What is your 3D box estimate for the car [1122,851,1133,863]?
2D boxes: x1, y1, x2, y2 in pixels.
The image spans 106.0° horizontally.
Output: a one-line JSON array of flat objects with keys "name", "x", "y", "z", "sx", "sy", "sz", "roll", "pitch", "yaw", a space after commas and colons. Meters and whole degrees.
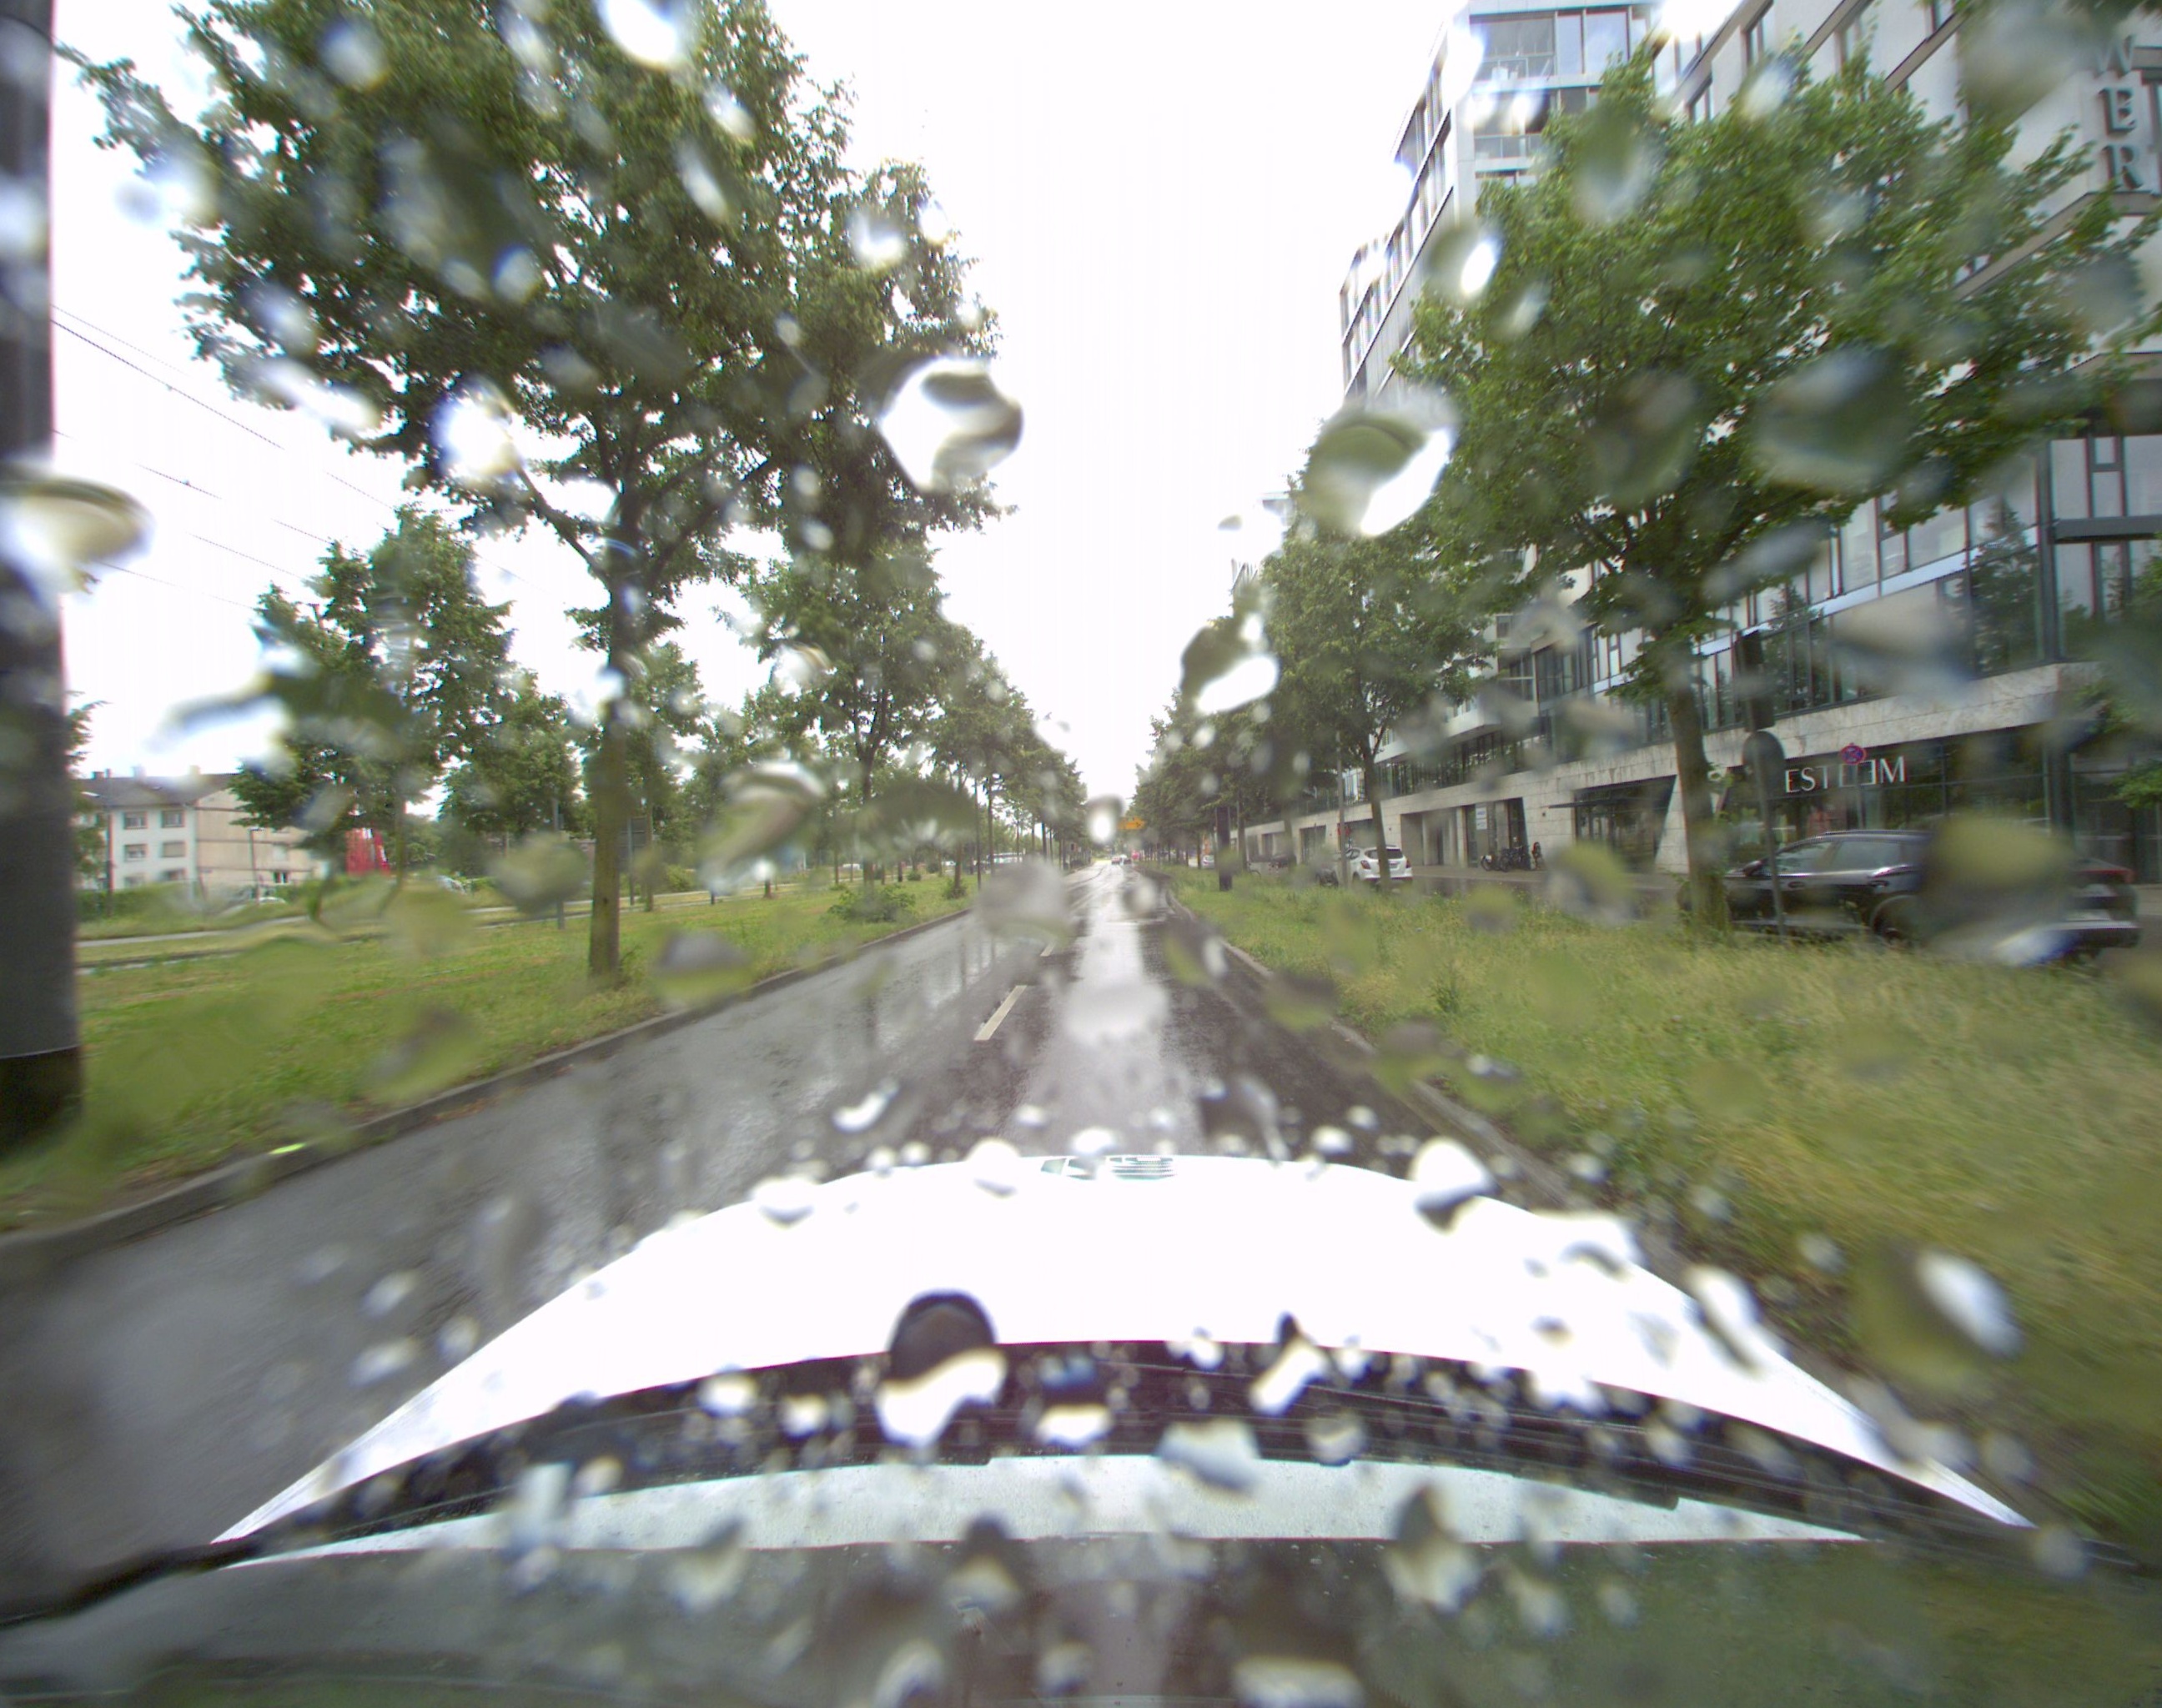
[{"name": "car", "x": 8.803, "y": 0.519, "z": 153.491, "sx": 1.933, "sy": 2.013, "sz": 4.003, "roll": -2, "pitch": 2, "yaw": 2}]

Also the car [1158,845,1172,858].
[{"name": "car", "x": 14.630, "y": -0.436, "z": 141.571, "sx": 2.113, "sy": 2.274, "sz": 4.566, "roll": -2, "pitch": 0, "yaw": 2}]

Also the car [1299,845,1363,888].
[{"name": "car", "x": 10.114, "y": 0.464, "z": 33.184, "sx": 1.619, "sy": 1.490, "sz": 3.658, "roll": -2, "pitch": 2, "yaw": 2}]

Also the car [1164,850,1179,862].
[{"name": "car", "x": 13.625, "y": 0.328, "z": 123.030, "sx": 1.899, "sy": 1.791, "sz": 4.690, "roll": -2, "pitch": 0, "yaw": 2}]

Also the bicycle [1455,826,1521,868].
[{"name": "bicycle", "x": 19.344, "y": -0.330, "z": 38.776, "sx": 2.666, "sy": 1.860, "sz": 0.708, "roll": -2, "pitch": 0, "yaw": 6}]

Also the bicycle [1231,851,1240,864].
[{"name": "bicycle", "x": 23.294, "y": 0.517, "z": 122.787, "sx": 0.769, "sy": 1.722, "sz": 3.122, "roll": -2, "pitch": 2, "yaw": 2}]

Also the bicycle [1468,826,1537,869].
[{"name": "bicycle", "x": 19.230, "y": -0.296, "z": 37.204, "sx": 2.666, "sy": 1.860, "sz": 0.708, "roll": -2, "pitch": 0, "yaw": 6}]

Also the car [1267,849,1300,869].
[{"name": "car", "x": 18.547, "y": 0.449, "z": 74.941, "sx": 1.985, "sy": 1.501, "sz": 5.040, "roll": -7, "pitch": 0, "yaw": 4}]

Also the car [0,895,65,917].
[{"name": "car", "x": -68.019, "y": 3.353, "z": 52.548, "sx": 1.223, "sy": 1.108, "sz": 2.815, "roll": -2, "pitch": 2, "yaw": 7}]

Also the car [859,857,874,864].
[{"name": "car", "x": -54.705, "y": 1.691, "z": 207.929, "sx": 3.546, "sy": 1.738, "sz": 1.694, "roll": -3, "pitch": 2, "yaw": -22}]

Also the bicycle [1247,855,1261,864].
[{"name": "bicycle", "x": 22.288, "y": 0.718, "z": 105.167, "sx": 1.686, "sy": 1.028, "sz": 0.423, "roll": -2, "pitch": -1, "yaw": 4}]

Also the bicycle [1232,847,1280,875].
[{"name": "bicycle", "x": 7.819, "y": 0.322, "z": 36.483, "sx": 2.027, "sy": 1.196, "sz": 0.491, "roll": -2, "pitch": -1, "yaw": 1}]

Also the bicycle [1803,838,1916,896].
[{"name": "bicycle", "x": 16.316, "y": 0.265, "z": 17.145, "sx": 0.516, "sy": 1.130, "sz": 2.067, "roll": -2, "pitch": 0, "yaw": 5}]

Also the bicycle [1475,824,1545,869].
[{"name": "bicycle", "x": 19.172, "y": -0.328, "z": 36.438, "sx": 2.666, "sy": 1.860, "sz": 0.708, "roll": -2, "pitch": 0, "yaw": 6}]

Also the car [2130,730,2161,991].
[{"name": "car", "x": 8.985, "y": 0.092, "z": 3.745, "sx": 1.986, "sy": 1.952, "sz": 5.033, "roll": -2, "pitch": 2, "yaw": 2}]

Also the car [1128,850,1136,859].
[{"name": "car", "x": 13.172, "y": 0.157, "z": 210.318, "sx": 1.985, "sy": 2.013, "sz": 4.004, "roll": -2, "pitch": 2, "yaw": 3}]

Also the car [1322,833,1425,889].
[{"name": "car", "x": 9.993, "y": 0.161, "z": 28.230, "sx": 1.986, "sy": 1.669, "sz": 4.727, "roll": -2, "pitch": 2, "yaw": 2}]

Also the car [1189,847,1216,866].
[{"name": "car", "x": 10.983, "y": 0.229, "z": 74.062, "sx": 1.874, "sy": 1.505, "sz": 4.727, "roll": -2, "pitch": 2, "yaw": 2}]

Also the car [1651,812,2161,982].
[{"name": "car", "x": 9.538, "y": 0.404, "z": 9.819, "sx": 1.952, "sy": 1.513, "sz": 4.475, "roll": -2, "pitch": 0, "yaw": -4}]

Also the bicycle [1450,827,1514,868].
[{"name": "bicycle", "x": 19.437, "y": -0.328, "z": 39.520, "sx": 2.666, "sy": 1.860, "sz": 0.708, "roll": -2, "pitch": 0, "yaw": 6}]

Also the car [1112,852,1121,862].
[{"name": "car", "x": 7.748, "y": 0.636, "z": 176.921, "sx": 1.880, "sy": 2.013, "sz": 4.003, "roll": -2, "pitch": 2, "yaw": 2}]

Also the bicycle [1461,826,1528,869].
[{"name": "bicycle", "x": 19.266, "y": -0.307, "z": 37.987, "sx": 2.666, "sy": 1.860, "sz": 0.708, "roll": -2, "pitch": 0, "yaw": 6}]
